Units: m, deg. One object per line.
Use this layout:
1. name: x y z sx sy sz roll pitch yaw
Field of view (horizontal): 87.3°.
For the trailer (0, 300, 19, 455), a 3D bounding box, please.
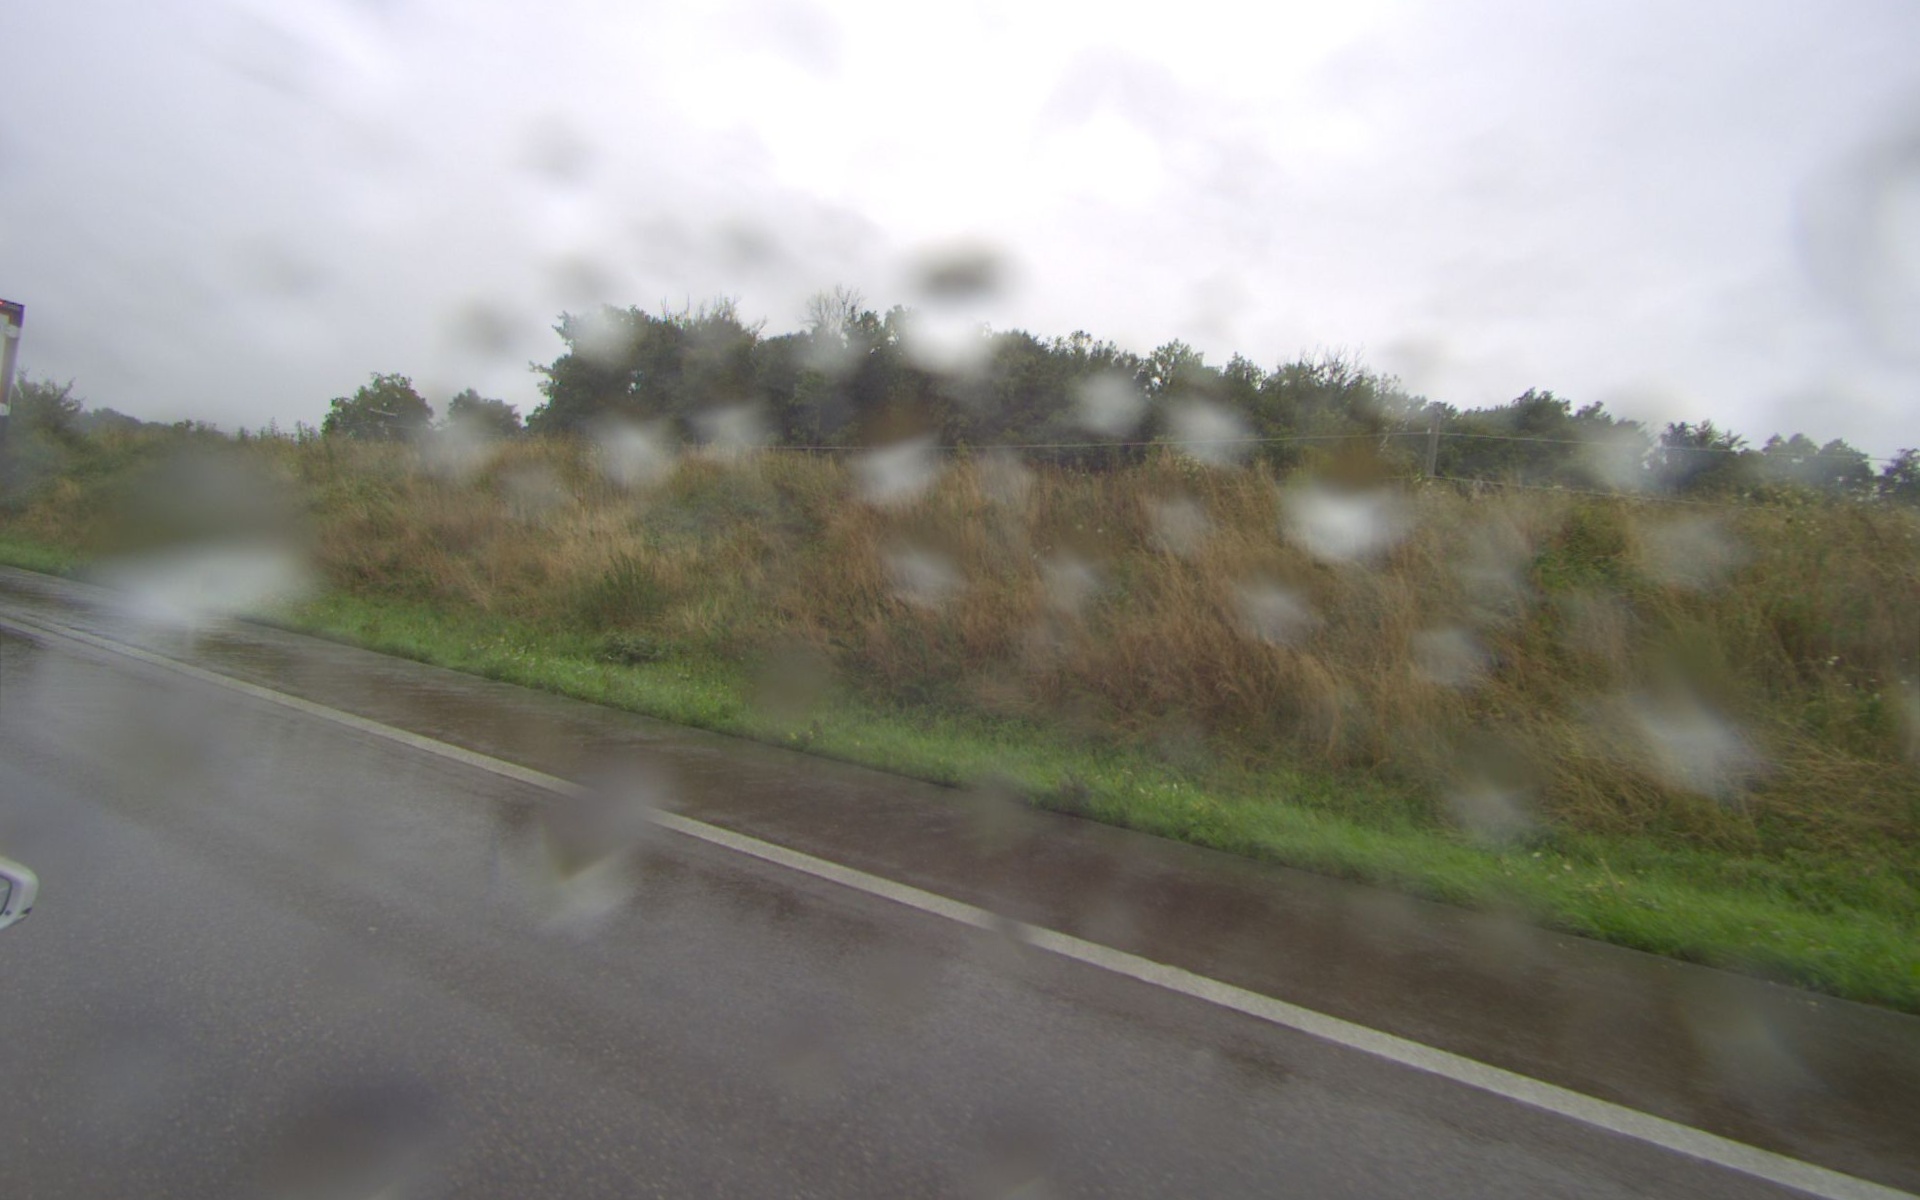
1. trailer: -19.595 -2.777 16.127 14.386 4.061 2.635 7 -1 32
